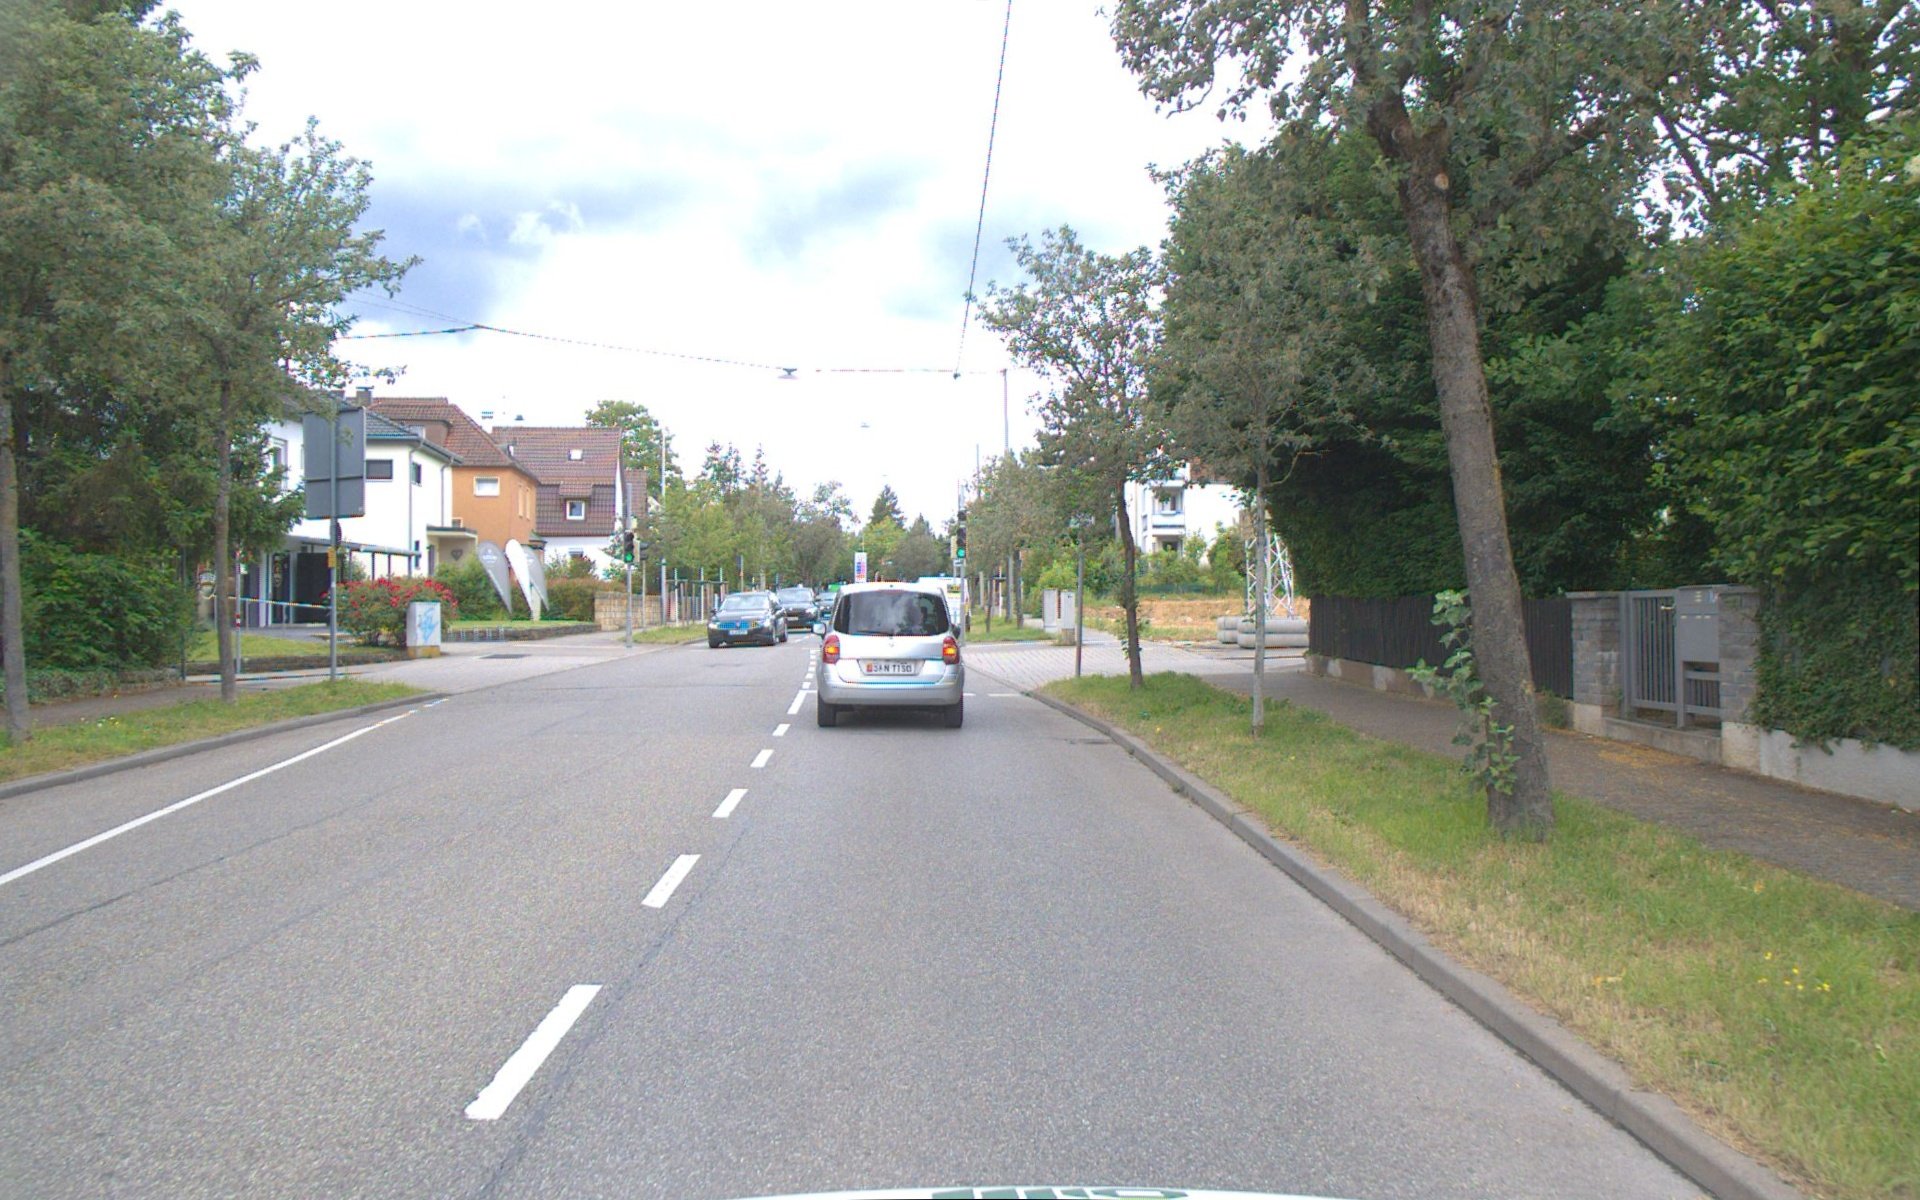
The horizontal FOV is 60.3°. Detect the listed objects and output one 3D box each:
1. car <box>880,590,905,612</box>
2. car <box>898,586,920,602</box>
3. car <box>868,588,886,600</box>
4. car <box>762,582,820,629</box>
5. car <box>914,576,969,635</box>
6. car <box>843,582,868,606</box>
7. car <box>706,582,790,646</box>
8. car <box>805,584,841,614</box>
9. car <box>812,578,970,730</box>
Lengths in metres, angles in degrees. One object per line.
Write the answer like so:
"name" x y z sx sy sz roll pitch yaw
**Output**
"car" -5.614 0.063 137.293 1.800 1.743 3.995 -2 1 -6
"car" -4.787 -0.589 155.460 1.596 1.477 3.869 -1 0 -8
"car" -10.140 -0.742 202.362 1.664 1.532 3.963 0 0 -10
"car" -6.147 0.178 60.406 1.857 1.653 3.998 -1 0 -2
"car" -0.672 0.157 57.556 1.739 1.977 4.786 0 0 -3
"car" -8.080 -0.482 127.826 1.777 1.722 4.464 -2 0 -2
"car" -5.876 0.358 46.302 1.954 1.649 4.645 -1 0 -3
"car" -7.227 -0.070 87.623 1.583 1.497 4.000 -2 0 0
"car" -0.783 0.568 19.362 1.645 1.587 3.510 1 0 -2
